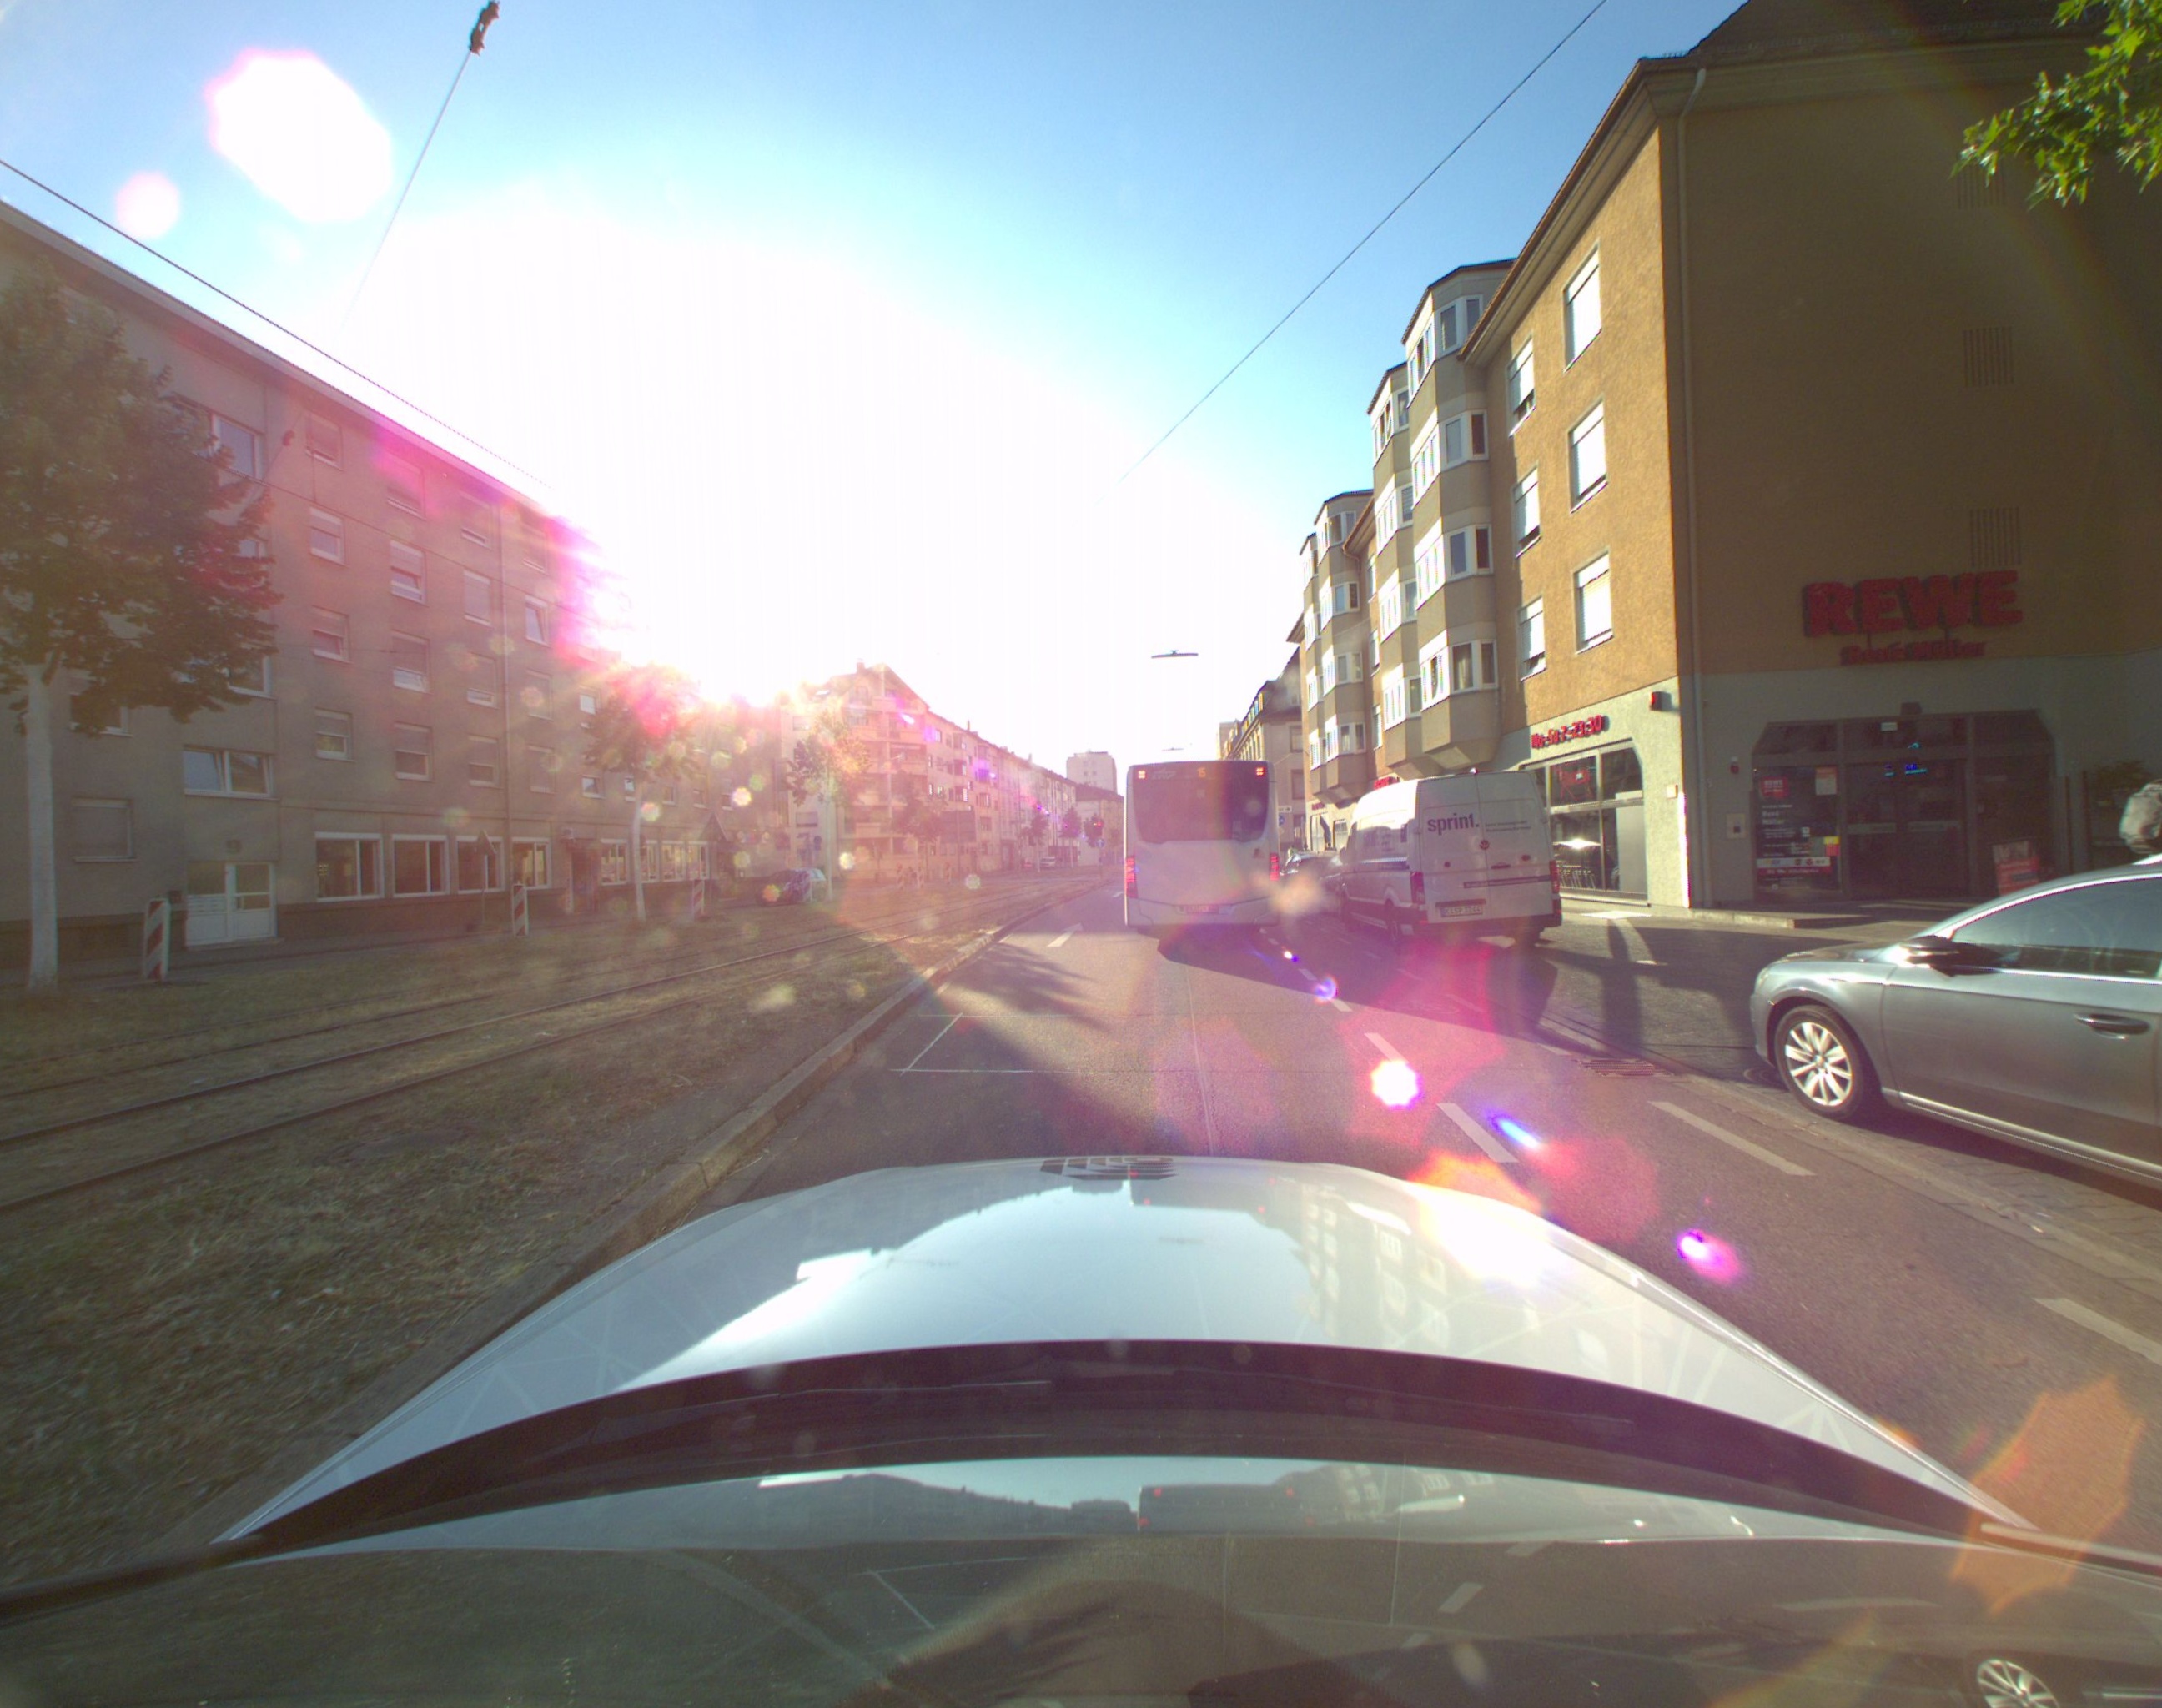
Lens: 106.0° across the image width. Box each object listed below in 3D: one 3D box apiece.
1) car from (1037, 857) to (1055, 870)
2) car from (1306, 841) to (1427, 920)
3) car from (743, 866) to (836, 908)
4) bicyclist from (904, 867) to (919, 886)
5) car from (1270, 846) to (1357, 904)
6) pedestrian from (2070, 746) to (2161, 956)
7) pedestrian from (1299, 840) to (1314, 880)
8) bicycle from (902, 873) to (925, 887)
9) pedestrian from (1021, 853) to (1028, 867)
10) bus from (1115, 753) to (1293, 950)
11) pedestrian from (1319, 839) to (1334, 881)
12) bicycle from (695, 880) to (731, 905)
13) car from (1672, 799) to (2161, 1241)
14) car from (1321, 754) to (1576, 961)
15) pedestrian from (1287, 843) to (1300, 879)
[{"bbox_3d":[-5.101,1.358,120.593,1.802,1.797,4.255,-3,0,8],"label":"car"},{"bbox_3d":[6.522,0.561,19.021,1.829,1.588,3.793,-3,0,7],"label":"car"},{"bbox_3d":[-13.213,1.438,37.246,1.801,1.560,4.946,-3,0,8],"label":"car"},{"bbox_3d":[-13.473,1.809,64.730,0.522,1.447,0.971,-3,-1,37],"label":"bicyclist"},{"bbox_3d":[6.954,0.601,24.785,1.829,1.536,4.238,-3,0,7],"label":"car"},{"bbox_3d":[9.427,-0.057,6.982,0.802,1.751,0.770,-6,0,6],"label":"pedestrian"},{"bbox_3d":[10.224,0.286,36.921,0.544,1.784,0.450,-3,-1,6],"label":"pedestrian"},{"bbox_3d":[-13.329,2.087,64.915,0.522,0.984,1.895,-3,-1,37],"label":"bicycle"},{"bbox_3d":[-7.907,0.848,113.217,0.783,2.014,0.891,-2,-1,3],"label":"pedestrian"},{"bbox_3d":[2.450,-0.022,17.244,2.724,3.056,8.870,-1,0,7],"label":"bus"},{"bbox_3d":[10.505,0.247,34.854,0.544,1.784,0.450,0,-1,6],"label":"pedestrian"},{"bbox_3d":[-17.832,1.861,39.537,0.743,1.115,1.782,-3,0,7],"label":"bicycle"},{"bbox_3d":[4.645,0.548,3.018,1.689,1.531,4.657,-5,-1,4],"label":"car"},{"bbox_3d":[5.680,0.062,13.624,2.006,2.551,5.795,-6,-1,7],"label":"car"},{"bbox_3d":[10.630,0.359,40.686,0.543,1.784,0.451,-3,-1,11],"label":"pedestrian"}]
